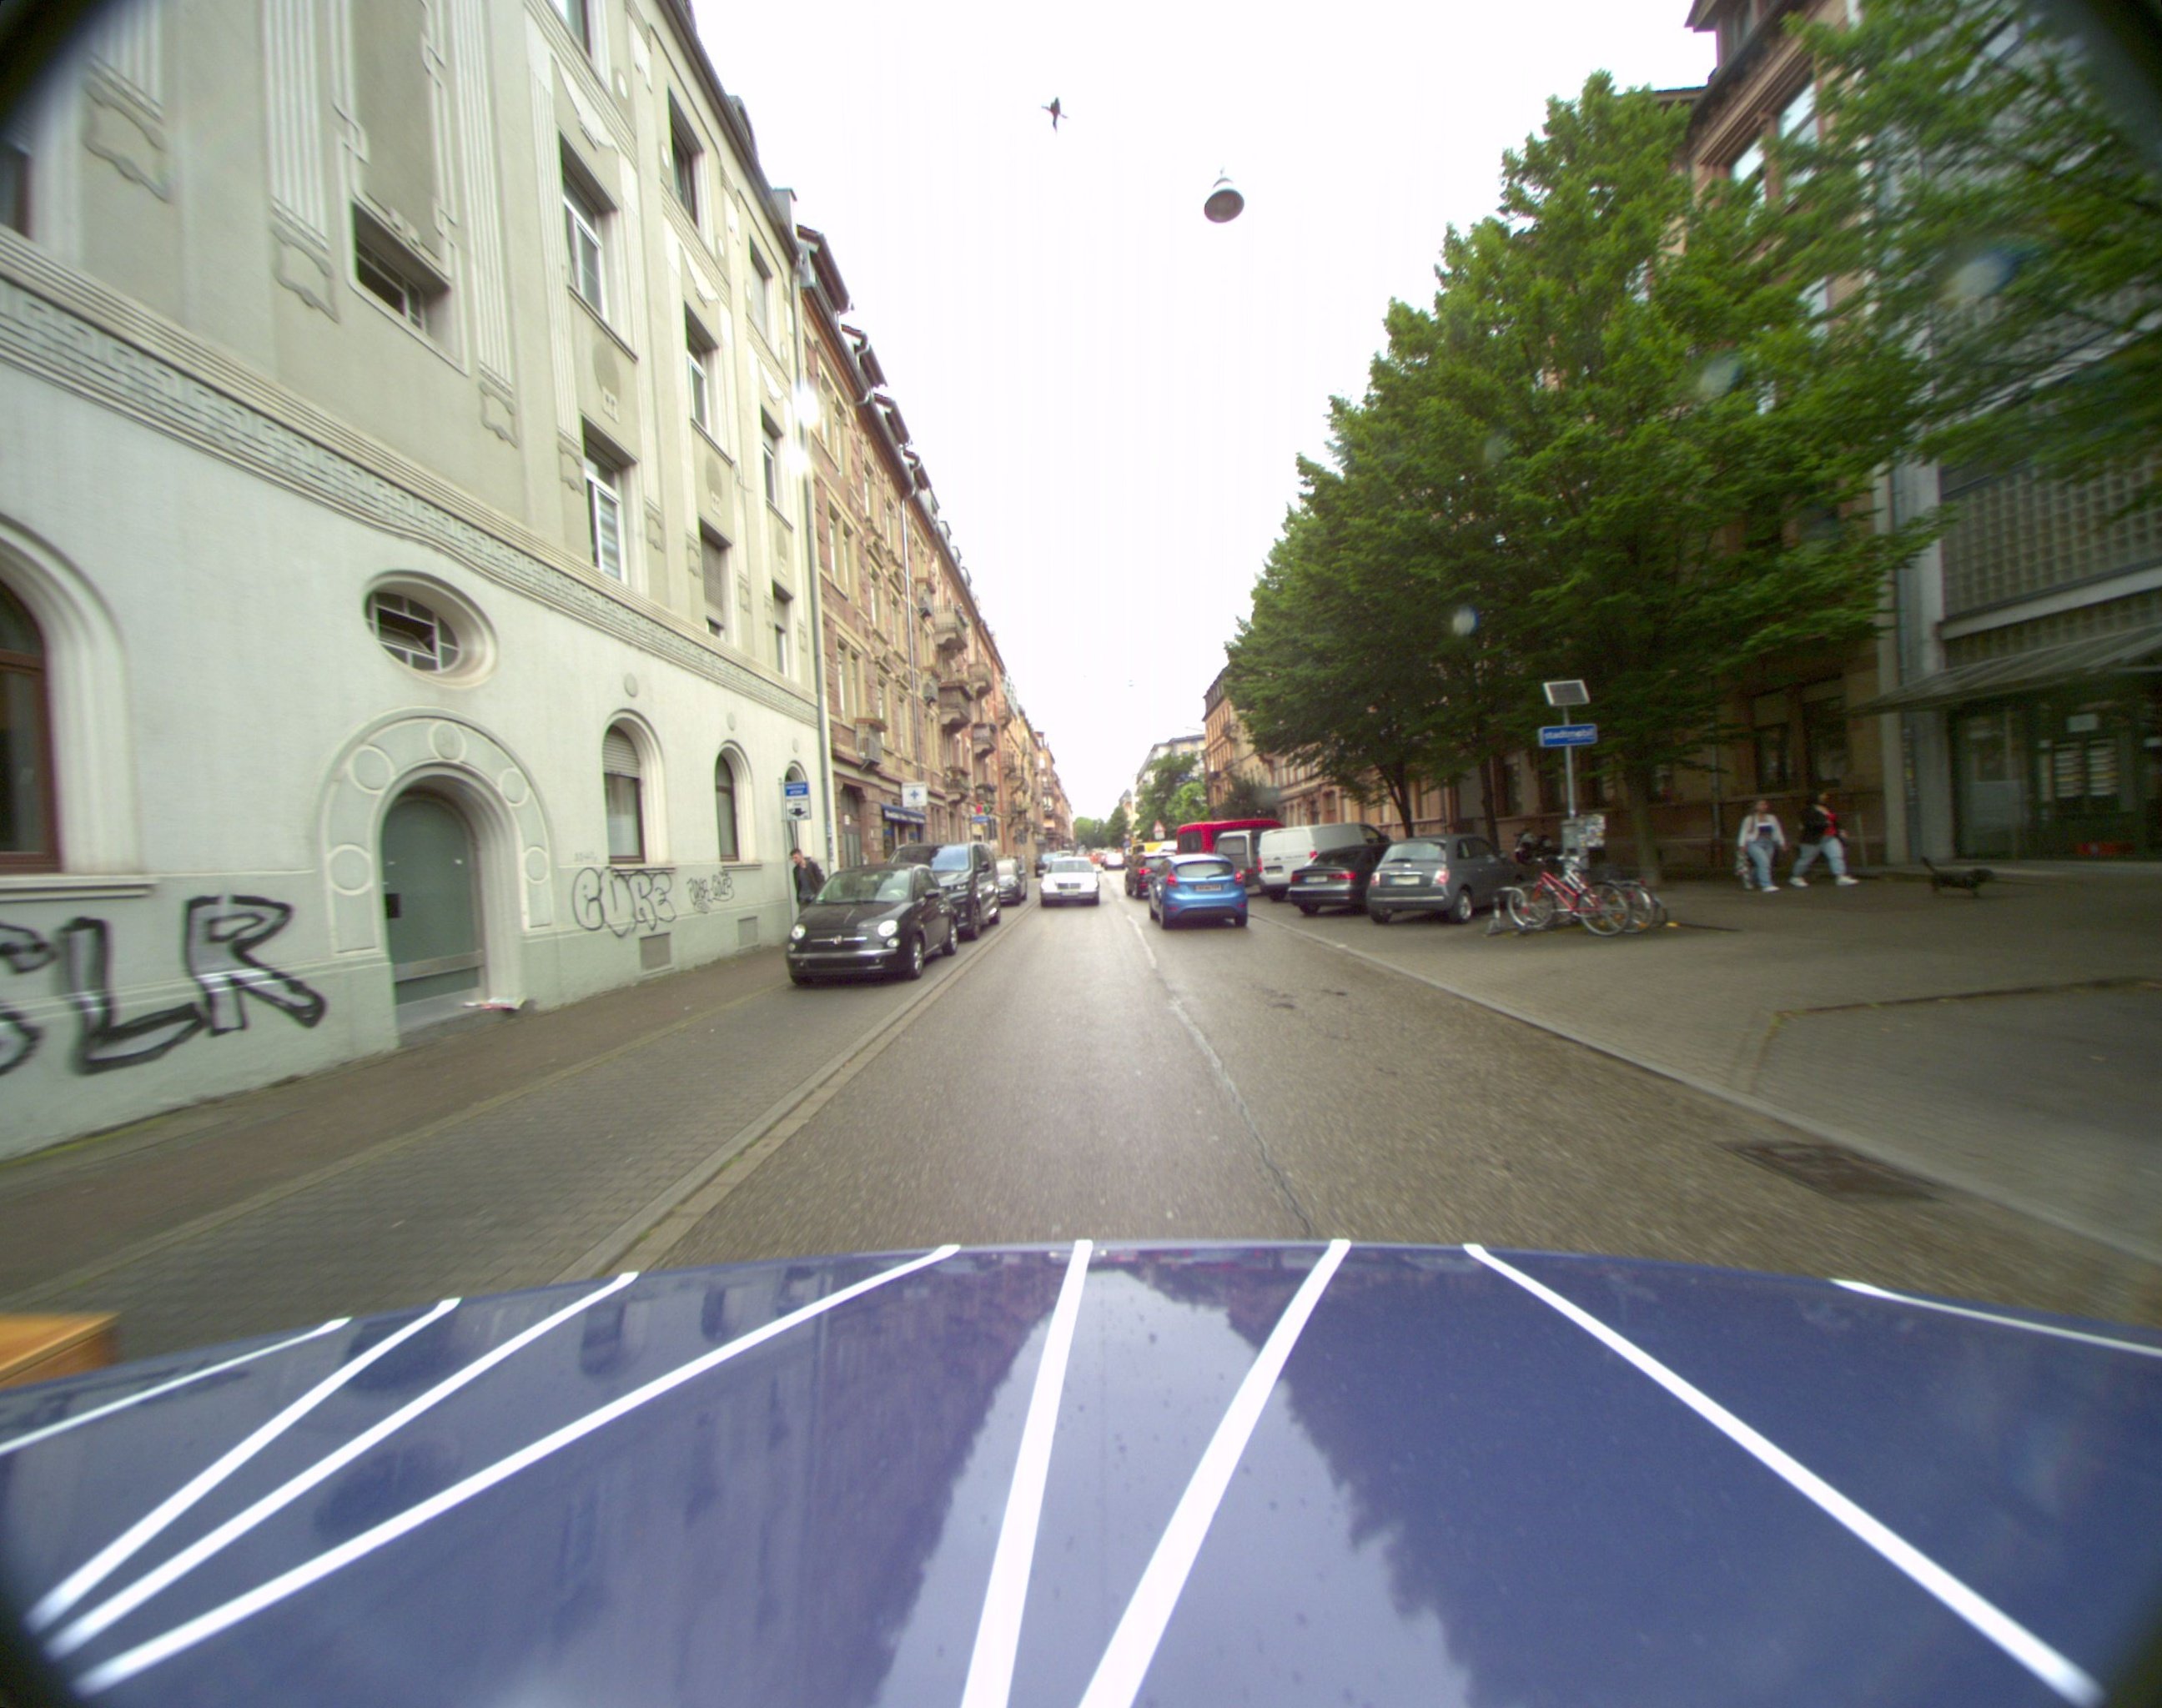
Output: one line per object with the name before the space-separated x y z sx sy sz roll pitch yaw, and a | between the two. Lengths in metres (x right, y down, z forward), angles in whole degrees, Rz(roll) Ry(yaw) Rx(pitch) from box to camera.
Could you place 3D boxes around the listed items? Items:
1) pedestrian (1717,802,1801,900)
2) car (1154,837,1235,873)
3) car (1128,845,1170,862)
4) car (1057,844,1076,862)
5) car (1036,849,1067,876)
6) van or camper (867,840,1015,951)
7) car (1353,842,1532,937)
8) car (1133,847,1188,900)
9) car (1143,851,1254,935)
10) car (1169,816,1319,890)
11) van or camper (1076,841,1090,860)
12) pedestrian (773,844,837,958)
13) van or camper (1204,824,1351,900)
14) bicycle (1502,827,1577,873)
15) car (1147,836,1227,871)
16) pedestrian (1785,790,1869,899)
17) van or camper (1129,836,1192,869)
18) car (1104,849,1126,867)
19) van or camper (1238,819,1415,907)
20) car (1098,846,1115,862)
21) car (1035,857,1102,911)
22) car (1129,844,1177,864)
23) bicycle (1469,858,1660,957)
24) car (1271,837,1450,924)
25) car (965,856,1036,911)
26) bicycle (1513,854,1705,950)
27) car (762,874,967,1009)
pedestrian | 10.984 -0.050 12.322 0.690 1.488 0.587 -7 1 -4
car | 6.997 0.046 47.323 4.590 1.775 2.545 -6 1 0
car | 7.774 -0.076 86.458 4.464 1.555 1.995 -6 3 -35
car | -1.663 -0.107 84.746 1.999 1.928 5.228 -2 1 -2
car | -2.066 0.586 54.841 1.998 1.769 4.825 -3 1 0
van or camper | -2.681 0.716 15.857 2.026 1.880 5.054 -2 0 1
car | 6.605 0.559 13.761 3.487 1.427 1.647 -3 1 -41
car | 2.723 0.606 25.998 1.673 1.550 4.005 -3 1 6
car | 2.350 0.716 16.126 1.674 1.457 4.003 -3 1 0
car | 6.549 -0.055 30.398 5.580 2.526 2.225 -4 0 -26
van or camper | 0.329 -0.666 147.302 2.411 3.308 7.072 -4 0 0
pedestrian | -4.865 0.815 13.429 0.827 1.941 0.415 -3 3 1
van or camper | 6.242 0.223 23.913 4.454 1.964 1.777 -5 1 -32
bicycle | 13.251 -0.115 22.066 0.668 1.186 2.413 -7 0 2
car | 7.415 -0.059 52.990 5.258 2.066 1.866 -4 1 -23
pedestrian | 11.533 -0.149 11.763 0.568 1.593 0.589 -7 1 -4
van or camper | 6.703 -0.148 64.097 4.733 2.255 2.180 -6 0 -31
car | 3.067 0.359 69.196 1.800 1.485 4.583 -3 -1 0
van or camper | 6.765 0.204 20.721 4.705 1.941 2.331 -5 0 -40
car | 2.878 -0.035 86.342 1.863 1.650 5.008 -3 0 1
car | -0.415 0.883 24.497 1.859 1.390 4.979 -3 1 -1
car | 7.738 -0.005 81.639 4.731 1.554 1.996 -6 0 -33
bicycle | 6.481 0.684 10.384 0.751 1.151 2.218 -4 -1 -15
car | 6.121 0.527 16.461 3.985 1.438 1.763 -5 1 -39
car | -2.589 0.912 25.300 1.845 1.536 4.003 -3 1 0
bicycle | 7.242 0.630 10.593 0.784 1.151 2.144 -4 -1 -15
car | -2.804 1.070 10.707 1.714 1.392 3.705 -2 0 1
